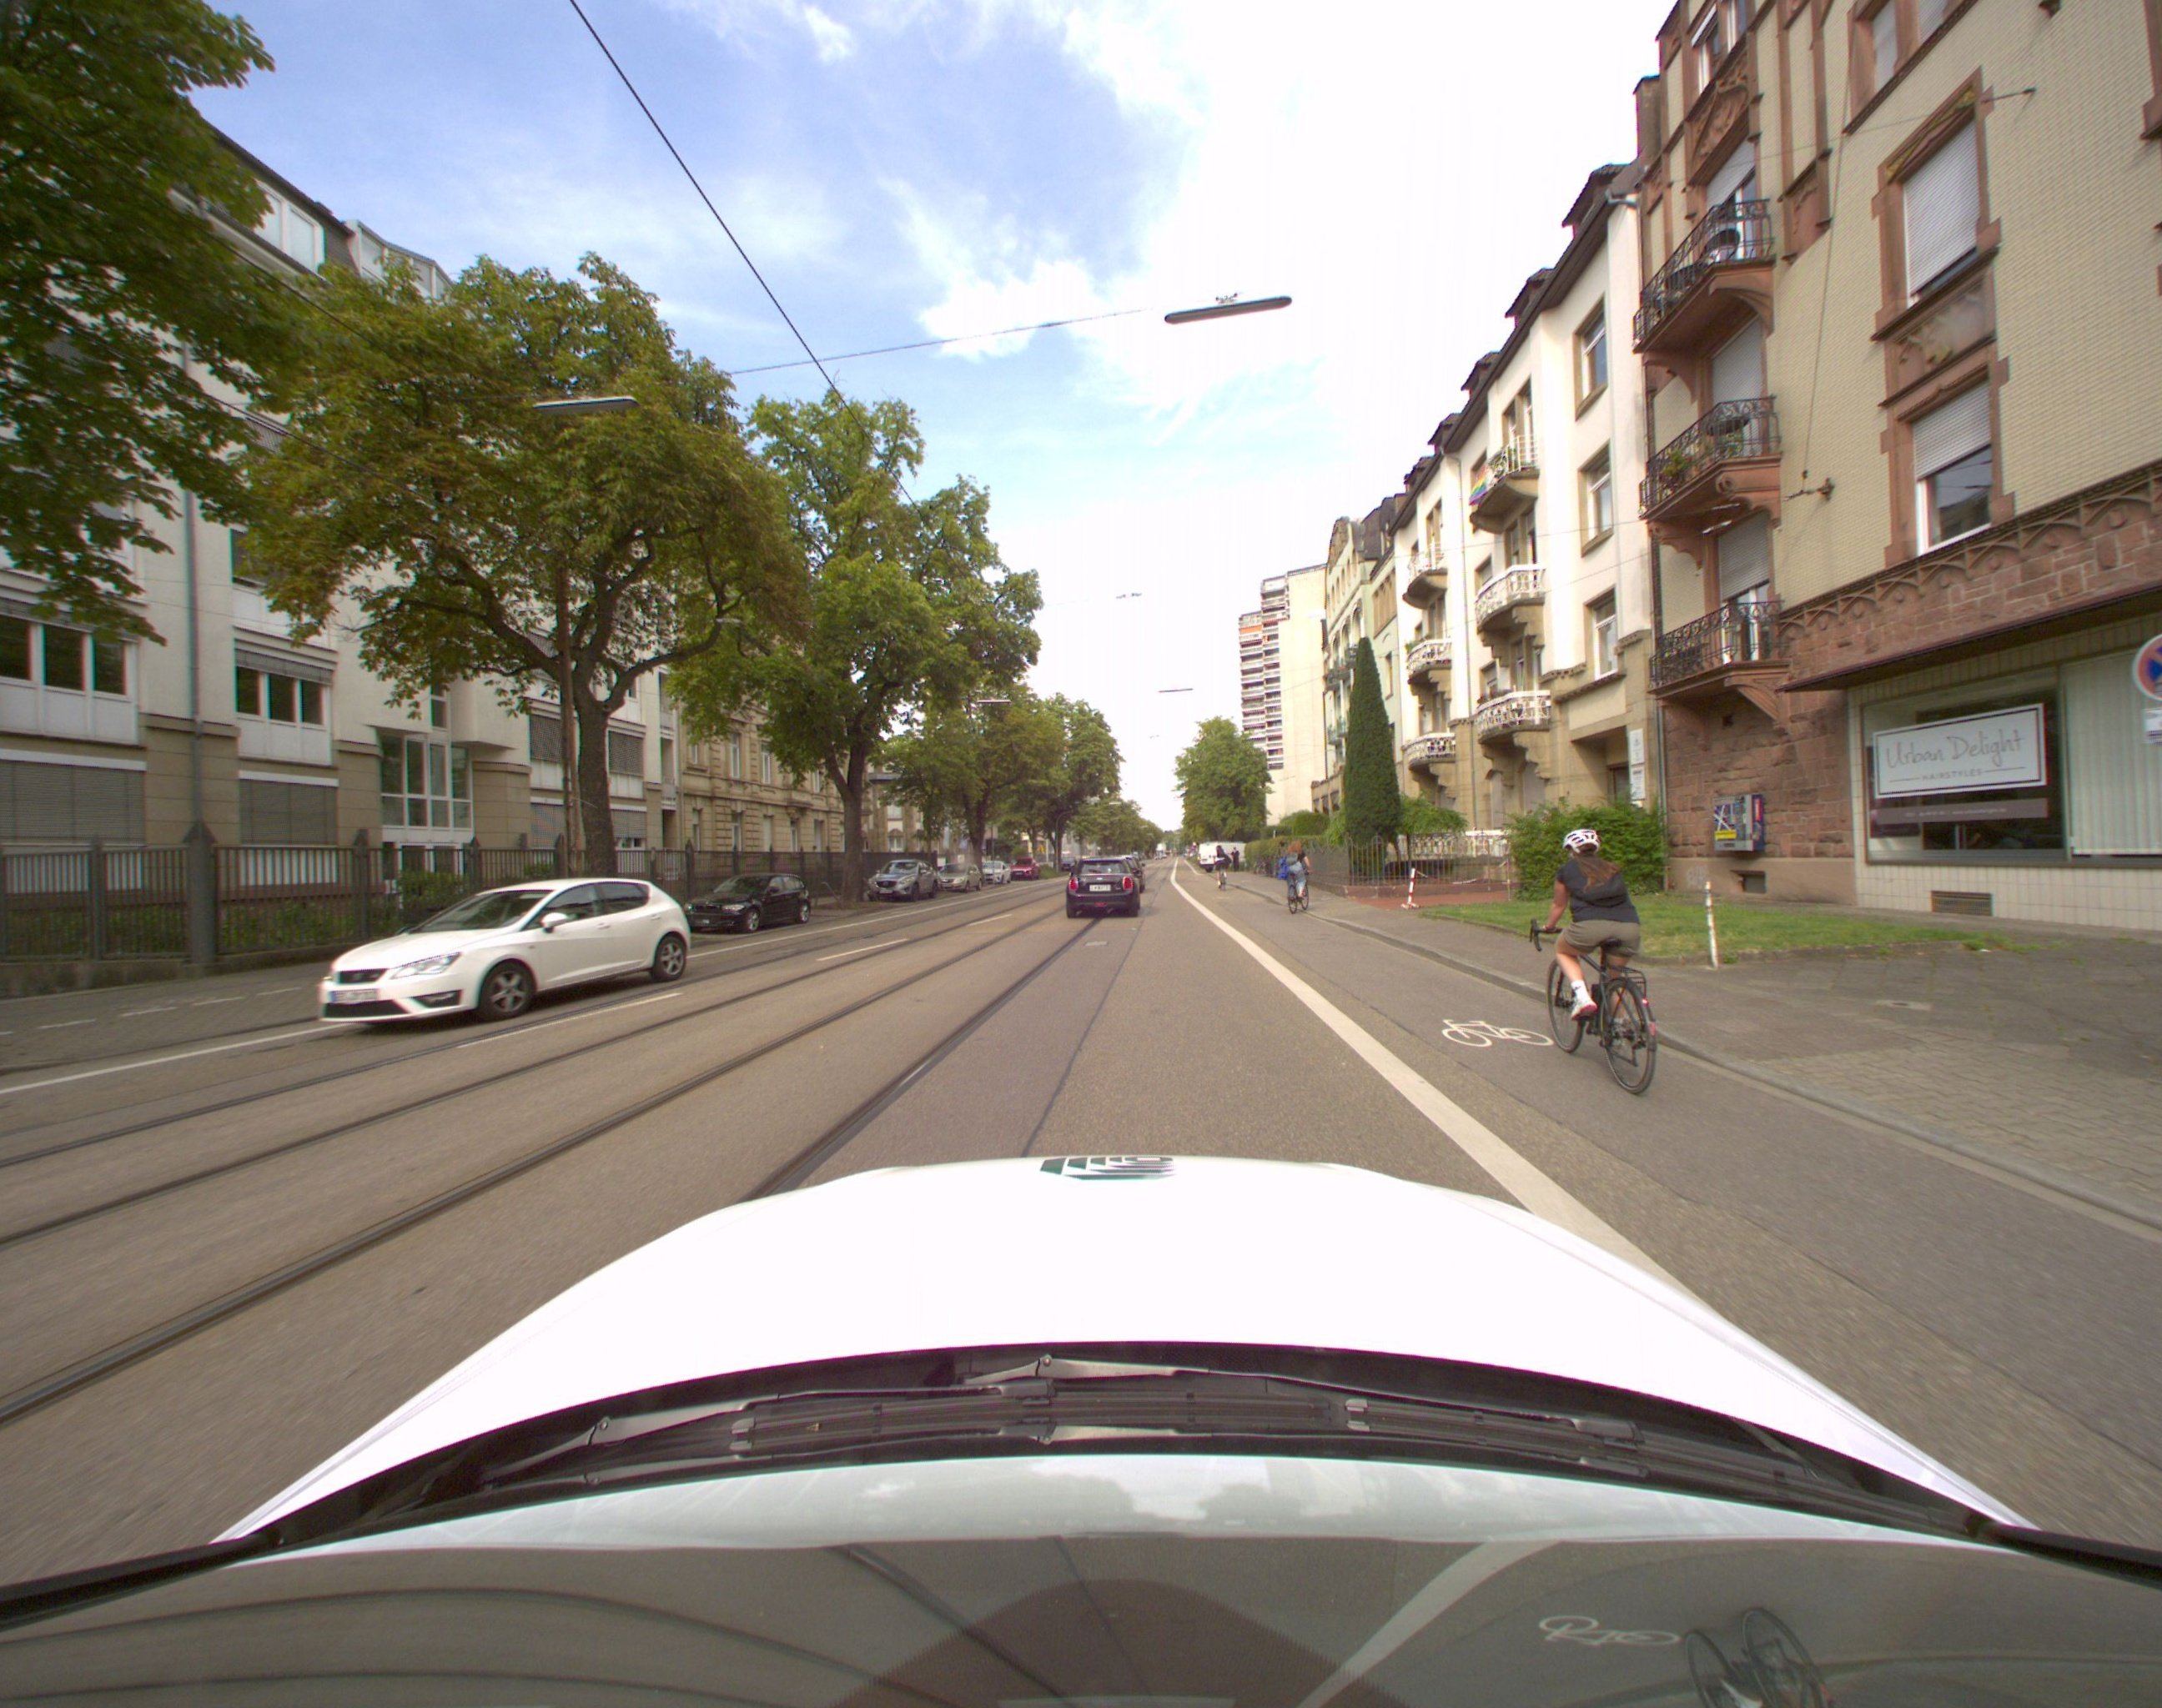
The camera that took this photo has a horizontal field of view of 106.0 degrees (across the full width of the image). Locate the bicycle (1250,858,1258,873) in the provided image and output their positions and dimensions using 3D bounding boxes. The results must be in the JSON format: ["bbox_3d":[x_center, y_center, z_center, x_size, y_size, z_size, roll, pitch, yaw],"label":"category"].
[{"bbox_3d":[10.592,0.711,49.802,0.383,0.907,1.670,-3,-1,11],"label":"bicycle"}]

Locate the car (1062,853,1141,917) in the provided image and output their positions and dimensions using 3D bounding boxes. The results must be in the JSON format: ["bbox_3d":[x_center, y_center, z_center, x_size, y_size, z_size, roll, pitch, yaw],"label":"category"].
[{"bbox_3d":[0.614,0.726,20.667,1.785,1.423,4.005,-1,0,4],"label":"car"}]

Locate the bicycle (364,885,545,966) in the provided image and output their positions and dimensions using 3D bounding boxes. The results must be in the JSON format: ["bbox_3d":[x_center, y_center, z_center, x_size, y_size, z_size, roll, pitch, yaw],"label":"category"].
[{"bbox_3d":[-10.331,1.146,13.550,2.241,1.175,0.828,-1,0,-27],"label":"bicycle"}]

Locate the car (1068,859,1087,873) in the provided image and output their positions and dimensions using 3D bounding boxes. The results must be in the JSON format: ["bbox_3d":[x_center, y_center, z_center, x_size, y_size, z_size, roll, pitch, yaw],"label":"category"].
[{"bbox_3d":[-0.367,1.295,89.359,1.684,1.427,3.875,-1,0,6],"label":"car"}]

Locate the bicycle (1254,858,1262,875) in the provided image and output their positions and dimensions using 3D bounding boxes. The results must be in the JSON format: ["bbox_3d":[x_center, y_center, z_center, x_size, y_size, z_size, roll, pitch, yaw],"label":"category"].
[{"bbox_3d":[10.160,0.709,46.835,0.383,0.907,1.670,-3,-1,11],"label":"bicycle"}]

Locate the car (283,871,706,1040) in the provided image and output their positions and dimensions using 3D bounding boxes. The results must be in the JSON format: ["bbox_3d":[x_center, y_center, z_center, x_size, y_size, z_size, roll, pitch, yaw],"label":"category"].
[{"bbox_3d":[-6.450,1.004,9.622,1.561,1.416,4.012,-4,0,10],"label":"car"}]

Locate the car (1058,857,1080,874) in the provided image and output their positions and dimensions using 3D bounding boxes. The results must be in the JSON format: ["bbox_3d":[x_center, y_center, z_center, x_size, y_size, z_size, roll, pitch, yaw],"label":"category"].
[{"bbox_3d":[-1.194,1.176,82.434,1.747,1.647,4.059,-1,0,6],"label":"car"}]

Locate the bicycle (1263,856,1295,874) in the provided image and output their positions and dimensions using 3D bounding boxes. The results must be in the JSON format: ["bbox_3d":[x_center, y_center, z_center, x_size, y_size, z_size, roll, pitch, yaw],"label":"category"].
[{"bbox_3d":[11.159,0.602,45.891,1.652,0.907,0.488,-3,-1,4],"label":"bicycle"}]

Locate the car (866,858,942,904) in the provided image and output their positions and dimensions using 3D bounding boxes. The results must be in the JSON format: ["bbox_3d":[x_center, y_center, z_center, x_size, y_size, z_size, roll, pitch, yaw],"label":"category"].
[{"bbox_3d":[-7.119,1.050,33.207,1.701,1.673,4.365,-2,0,6],"label":"car"}]

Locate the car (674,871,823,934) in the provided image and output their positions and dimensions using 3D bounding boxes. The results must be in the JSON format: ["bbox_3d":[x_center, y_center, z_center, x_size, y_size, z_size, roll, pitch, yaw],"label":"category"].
[{"bbox_3d":[-8.565,1.191,21.440,1.710,1.424,4.175,0,0,8],"label":"car"}]

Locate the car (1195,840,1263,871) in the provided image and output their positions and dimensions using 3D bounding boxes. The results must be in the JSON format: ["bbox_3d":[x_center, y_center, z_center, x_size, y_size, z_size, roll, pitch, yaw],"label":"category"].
[{"bbox_3d":[11.558,0.119,63.514,4.981,2.290,2.358,-1,-1,-37],"label":"car"}]

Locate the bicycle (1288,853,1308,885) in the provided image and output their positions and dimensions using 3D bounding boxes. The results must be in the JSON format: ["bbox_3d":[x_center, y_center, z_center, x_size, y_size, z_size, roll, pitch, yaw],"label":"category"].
[{"bbox_3d":[8.008,0.532,30.067,0.389,1.103,1.762,-3,0,7],"label":"bicycle"}]

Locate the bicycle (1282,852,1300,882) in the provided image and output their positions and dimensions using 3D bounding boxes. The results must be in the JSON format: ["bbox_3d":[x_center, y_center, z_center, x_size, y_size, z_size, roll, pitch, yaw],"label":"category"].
[{"bbox_3d":[8.428,0.494,32.758,0.389,1.142,1.924,-3,0,7],"label":"bicycle"}]

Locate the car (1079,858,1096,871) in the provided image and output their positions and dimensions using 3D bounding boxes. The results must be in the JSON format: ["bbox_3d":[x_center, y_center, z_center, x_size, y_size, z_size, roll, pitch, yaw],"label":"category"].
[{"bbox_3d":[0.850,1.280,101.048,1.684,1.487,3.683,-1,0,6],"label":"car"}]

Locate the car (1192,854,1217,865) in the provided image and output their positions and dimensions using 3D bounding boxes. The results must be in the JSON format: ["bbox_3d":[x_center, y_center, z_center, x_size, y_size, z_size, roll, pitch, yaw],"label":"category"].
[{"bbox_3d":[18.733,0.775,123.564,3.460,1.573,1.544,-1,-1,-32],"label":"car"}]

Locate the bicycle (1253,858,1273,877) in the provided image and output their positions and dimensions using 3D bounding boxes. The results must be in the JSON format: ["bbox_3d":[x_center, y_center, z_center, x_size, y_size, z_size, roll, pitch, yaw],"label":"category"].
[{"bbox_3d":[9.480,0.708,42.444,0.485,0.907,1.662,-3,-1,-4],"label":"bicycle"}]

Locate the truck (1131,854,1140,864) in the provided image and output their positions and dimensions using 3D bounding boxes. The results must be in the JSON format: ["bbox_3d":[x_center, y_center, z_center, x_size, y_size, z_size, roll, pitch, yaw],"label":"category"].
[{"bbox_3d":[13.861,1.181,208.076,2.060,2.470,4.907,-3,-1,6],"label":"truck"}]

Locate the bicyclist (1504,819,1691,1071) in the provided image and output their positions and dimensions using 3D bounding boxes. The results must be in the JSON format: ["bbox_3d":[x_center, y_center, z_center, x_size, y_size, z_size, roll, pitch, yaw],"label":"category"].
[{"bbox_3d":[3.520,0.572,5.653,0.635,1.570,1.112,0,0,4],"label":"bicyclist"}]

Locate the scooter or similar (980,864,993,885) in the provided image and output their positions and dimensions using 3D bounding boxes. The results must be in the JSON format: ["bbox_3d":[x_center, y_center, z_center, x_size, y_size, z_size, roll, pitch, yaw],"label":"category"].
[{"bbox_3d":[-5.622,1.204,48.447,0.562,1.223,1.316,-1,0,-17],"label":"scooter or similar"}]

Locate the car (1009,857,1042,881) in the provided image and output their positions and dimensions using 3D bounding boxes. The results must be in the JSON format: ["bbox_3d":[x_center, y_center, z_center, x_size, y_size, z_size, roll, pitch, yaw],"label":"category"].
[{"bbox_3d":[-4.033,1.079,59.963,1.713,1.655,4.549,0,0,6],"label":"car"}]

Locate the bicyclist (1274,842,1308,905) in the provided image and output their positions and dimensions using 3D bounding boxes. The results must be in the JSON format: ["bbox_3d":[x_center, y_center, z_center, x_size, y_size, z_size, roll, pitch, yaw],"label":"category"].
[{"bbox_3d":[5.126,0.468,19.868,0.642,1.470,0.804,-4,-1,18],"label":"bicyclist"}]

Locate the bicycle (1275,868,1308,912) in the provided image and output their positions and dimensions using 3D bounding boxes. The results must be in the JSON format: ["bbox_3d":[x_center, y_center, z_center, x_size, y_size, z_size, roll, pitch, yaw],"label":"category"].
[{"bbox_3d":[5.203,0.859,20.063,0.683,0.962,2.045,-2,0,17],"label":"bicycle"}]

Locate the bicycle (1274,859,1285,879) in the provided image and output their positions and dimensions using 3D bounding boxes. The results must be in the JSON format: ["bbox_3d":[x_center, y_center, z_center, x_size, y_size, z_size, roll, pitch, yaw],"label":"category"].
[{"bbox_3d":[9.002,0.682,36.944,0.276,0.852,1.200,-3,-1,7],"label":"bicycle"}]

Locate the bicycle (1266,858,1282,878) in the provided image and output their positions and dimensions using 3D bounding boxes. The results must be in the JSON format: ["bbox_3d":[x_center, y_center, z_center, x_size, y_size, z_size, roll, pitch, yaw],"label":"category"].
[{"bbox_3d":[9.179,0.659,38.751,0.483,0.907,1.668,-3,-1,7],"label":"bicycle"}]

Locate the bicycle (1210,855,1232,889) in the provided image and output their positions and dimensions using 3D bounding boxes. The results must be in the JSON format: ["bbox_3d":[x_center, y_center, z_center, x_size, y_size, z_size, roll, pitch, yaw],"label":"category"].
[{"bbox_3d":[5.326,0.666,31.037,0.654,1.249,2.128,-1,0,6],"label":"bicycle"}]

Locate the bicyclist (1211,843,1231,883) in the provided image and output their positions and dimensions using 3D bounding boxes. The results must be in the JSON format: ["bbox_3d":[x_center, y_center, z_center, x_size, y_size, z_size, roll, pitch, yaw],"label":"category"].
[{"bbox_3d":[5.331,0.343,31.074,0.654,1.463,1.180,-1,0,5],"label":"bicyclist"}]

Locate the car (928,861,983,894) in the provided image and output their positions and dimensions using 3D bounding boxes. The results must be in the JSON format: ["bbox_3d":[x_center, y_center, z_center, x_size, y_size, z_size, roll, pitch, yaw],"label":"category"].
[{"bbox_3d":[-6.156,1.142,40.351,1.592,1.468,4.086,-2,0,6],"label":"car"}]

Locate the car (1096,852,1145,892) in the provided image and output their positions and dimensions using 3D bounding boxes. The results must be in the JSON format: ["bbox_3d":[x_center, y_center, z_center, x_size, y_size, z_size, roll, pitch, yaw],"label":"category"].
[{"bbox_3d":[1.570,0.660,31.782,1.786,1.470,4.004,0,0,3],"label":"car"}]

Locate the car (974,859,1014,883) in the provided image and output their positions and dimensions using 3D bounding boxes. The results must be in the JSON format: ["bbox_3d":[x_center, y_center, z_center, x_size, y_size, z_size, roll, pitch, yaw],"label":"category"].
[{"bbox_3d":[-5.444,1.051,51.317,1.713,1.424,4.030,0,0,6],"label":"car"}]

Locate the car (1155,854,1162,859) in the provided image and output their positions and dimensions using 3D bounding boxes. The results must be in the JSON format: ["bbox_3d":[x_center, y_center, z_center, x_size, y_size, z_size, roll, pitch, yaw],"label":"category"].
[{"bbox_3d":[23.879,0.747,250.416,1.887,1.628,4.004,-1,0,4],"label":"car"}]

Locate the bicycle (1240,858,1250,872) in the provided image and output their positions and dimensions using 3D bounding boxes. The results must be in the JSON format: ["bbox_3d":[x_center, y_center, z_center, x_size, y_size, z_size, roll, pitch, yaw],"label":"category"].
[{"bbox_3d":[11.091,0.717,55.057,0.384,0.907,1.844,-3,-1,5],"label":"bicycle"}]

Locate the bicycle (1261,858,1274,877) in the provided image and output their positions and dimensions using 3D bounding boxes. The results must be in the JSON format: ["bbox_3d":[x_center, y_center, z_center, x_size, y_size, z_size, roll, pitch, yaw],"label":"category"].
[{"bbox_3d":[9.294,0.659,40.537,0.483,0.907,1.669,-3,-1,10],"label":"bicycle"}]

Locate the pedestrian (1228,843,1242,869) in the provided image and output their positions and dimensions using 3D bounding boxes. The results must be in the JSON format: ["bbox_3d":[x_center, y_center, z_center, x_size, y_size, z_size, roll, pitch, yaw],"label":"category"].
[{"bbox_3d":[10.892,0.125,57.465,0.781,1.733,0.897,-4,-1,6],"label":"pedestrian"}]

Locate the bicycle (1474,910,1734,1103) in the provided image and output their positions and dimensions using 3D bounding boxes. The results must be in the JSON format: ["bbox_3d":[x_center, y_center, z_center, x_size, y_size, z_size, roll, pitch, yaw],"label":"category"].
[{"bbox_3d":[3.533,0.952,5.762,0.635,0.981,2.074,0,0,4],"label":"bicycle"}]

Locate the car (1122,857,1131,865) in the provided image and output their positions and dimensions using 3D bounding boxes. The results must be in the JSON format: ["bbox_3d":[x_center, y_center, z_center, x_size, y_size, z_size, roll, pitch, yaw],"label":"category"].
[{"bbox_3d":[9.772,1.553,174.610,1.793,1.583,4.038,-3,-1,6],"label":"car"}]
